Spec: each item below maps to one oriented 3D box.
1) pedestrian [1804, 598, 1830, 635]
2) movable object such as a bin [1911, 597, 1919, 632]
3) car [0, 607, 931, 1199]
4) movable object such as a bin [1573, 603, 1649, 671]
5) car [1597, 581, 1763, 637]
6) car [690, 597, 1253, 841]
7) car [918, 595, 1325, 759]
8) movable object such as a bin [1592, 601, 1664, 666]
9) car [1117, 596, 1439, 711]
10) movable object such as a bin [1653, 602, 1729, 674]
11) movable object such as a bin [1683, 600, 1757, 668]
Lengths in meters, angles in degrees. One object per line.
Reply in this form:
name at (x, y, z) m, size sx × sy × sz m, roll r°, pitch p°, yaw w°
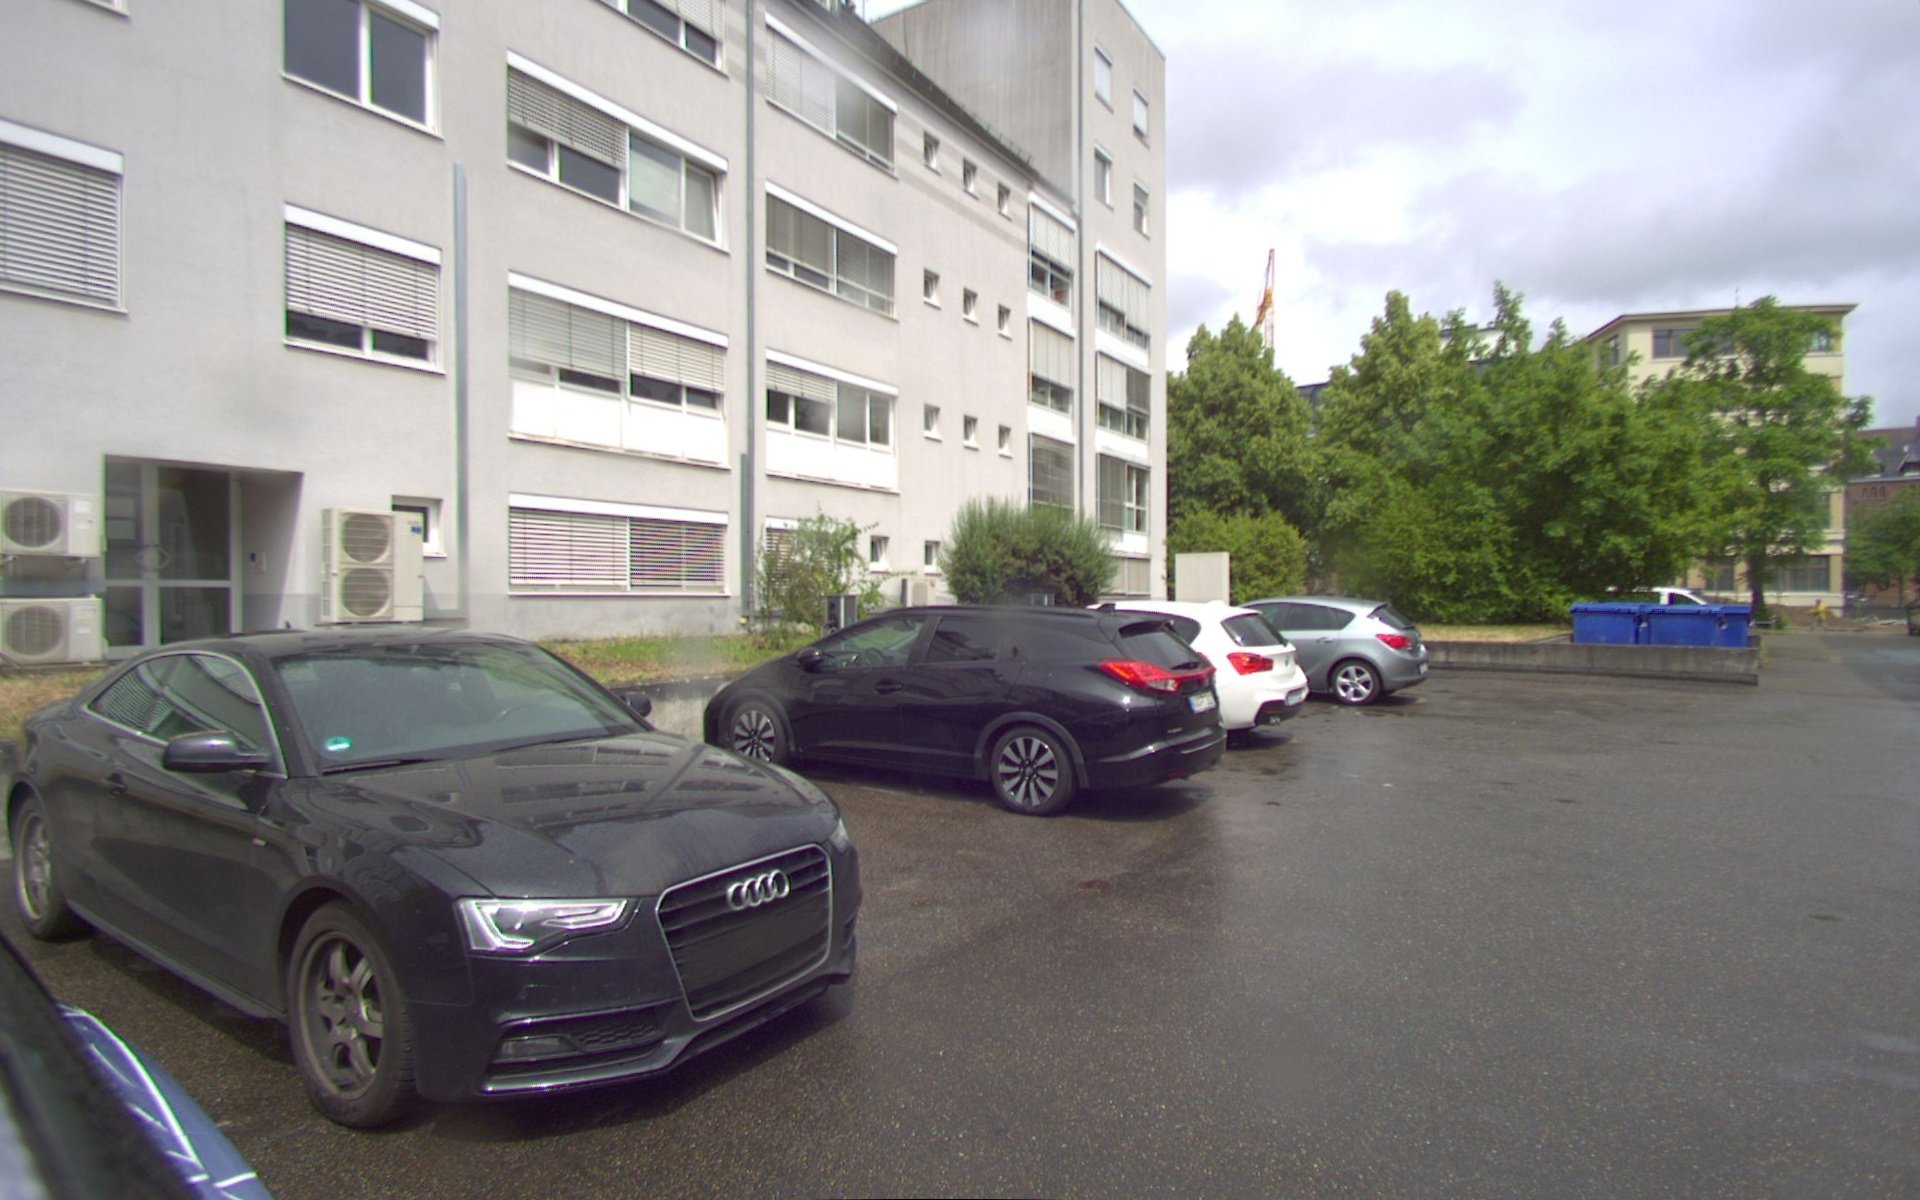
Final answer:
pedestrian at (42.697, 0.810, 50.417) m, size 0.858 × 1.827 × 0.854 m, roll -1°, pitch 0°, yaw 34°
movable object such as a bin at (39.122, 0.576, 40.821) m, size 1.066 × 1.366 × 1.247 m, roll -1°, pitch 0°, yaw 42°
car at (-2.455, 0.759, 4.219) m, size 4.516 × 1.362 × 1.743 m, roll 1°, pitch 1°, yaw 34°
movable object such as a bin at (13.347, 0.736, 20.757) m, size 1.131 × 1.338 × 1.192 m, roll -1°, pitch 0°, yaw 41°
car at (23.989, 0.297, 33.824) m, size 4.335 × 1.740 × 1.698 m, roll -1°, pitch 0°, yaw 44°
car at (-0.026, 0.735, 8.172) m, size 4.302 × 1.453 × 1.744 m, roll 1°, pitch 1°, yaw 32°
car at (1.677, 0.694, 11.107) m, size 4.115 × 1.453 × 1.677 m, roll 1°, pitch 1°, yaw 34°
movable object such as a bin at (14.489, 0.712, 21.956) m, size 1.131 × 1.338 × 1.192 m, roll -1°, pitch 0°, yaw 41°
car at (4.688, 0.694, 15.140) m, size 4.302 × 1.453 × 1.744 m, roll 1°, pitch 1°, yaw 33°
movable object such as a bin at (14.374, 0.725, 19.898) m, size 1.095 × 1.335 × 1.192 m, roll -1°, pitch 0°, yaw 41°
movable object such as a bin at (15.783, 0.685, 21.008) m, size 1.131 × 1.338 × 1.192 m, roll -1°, pitch 0°, yaw 41°
